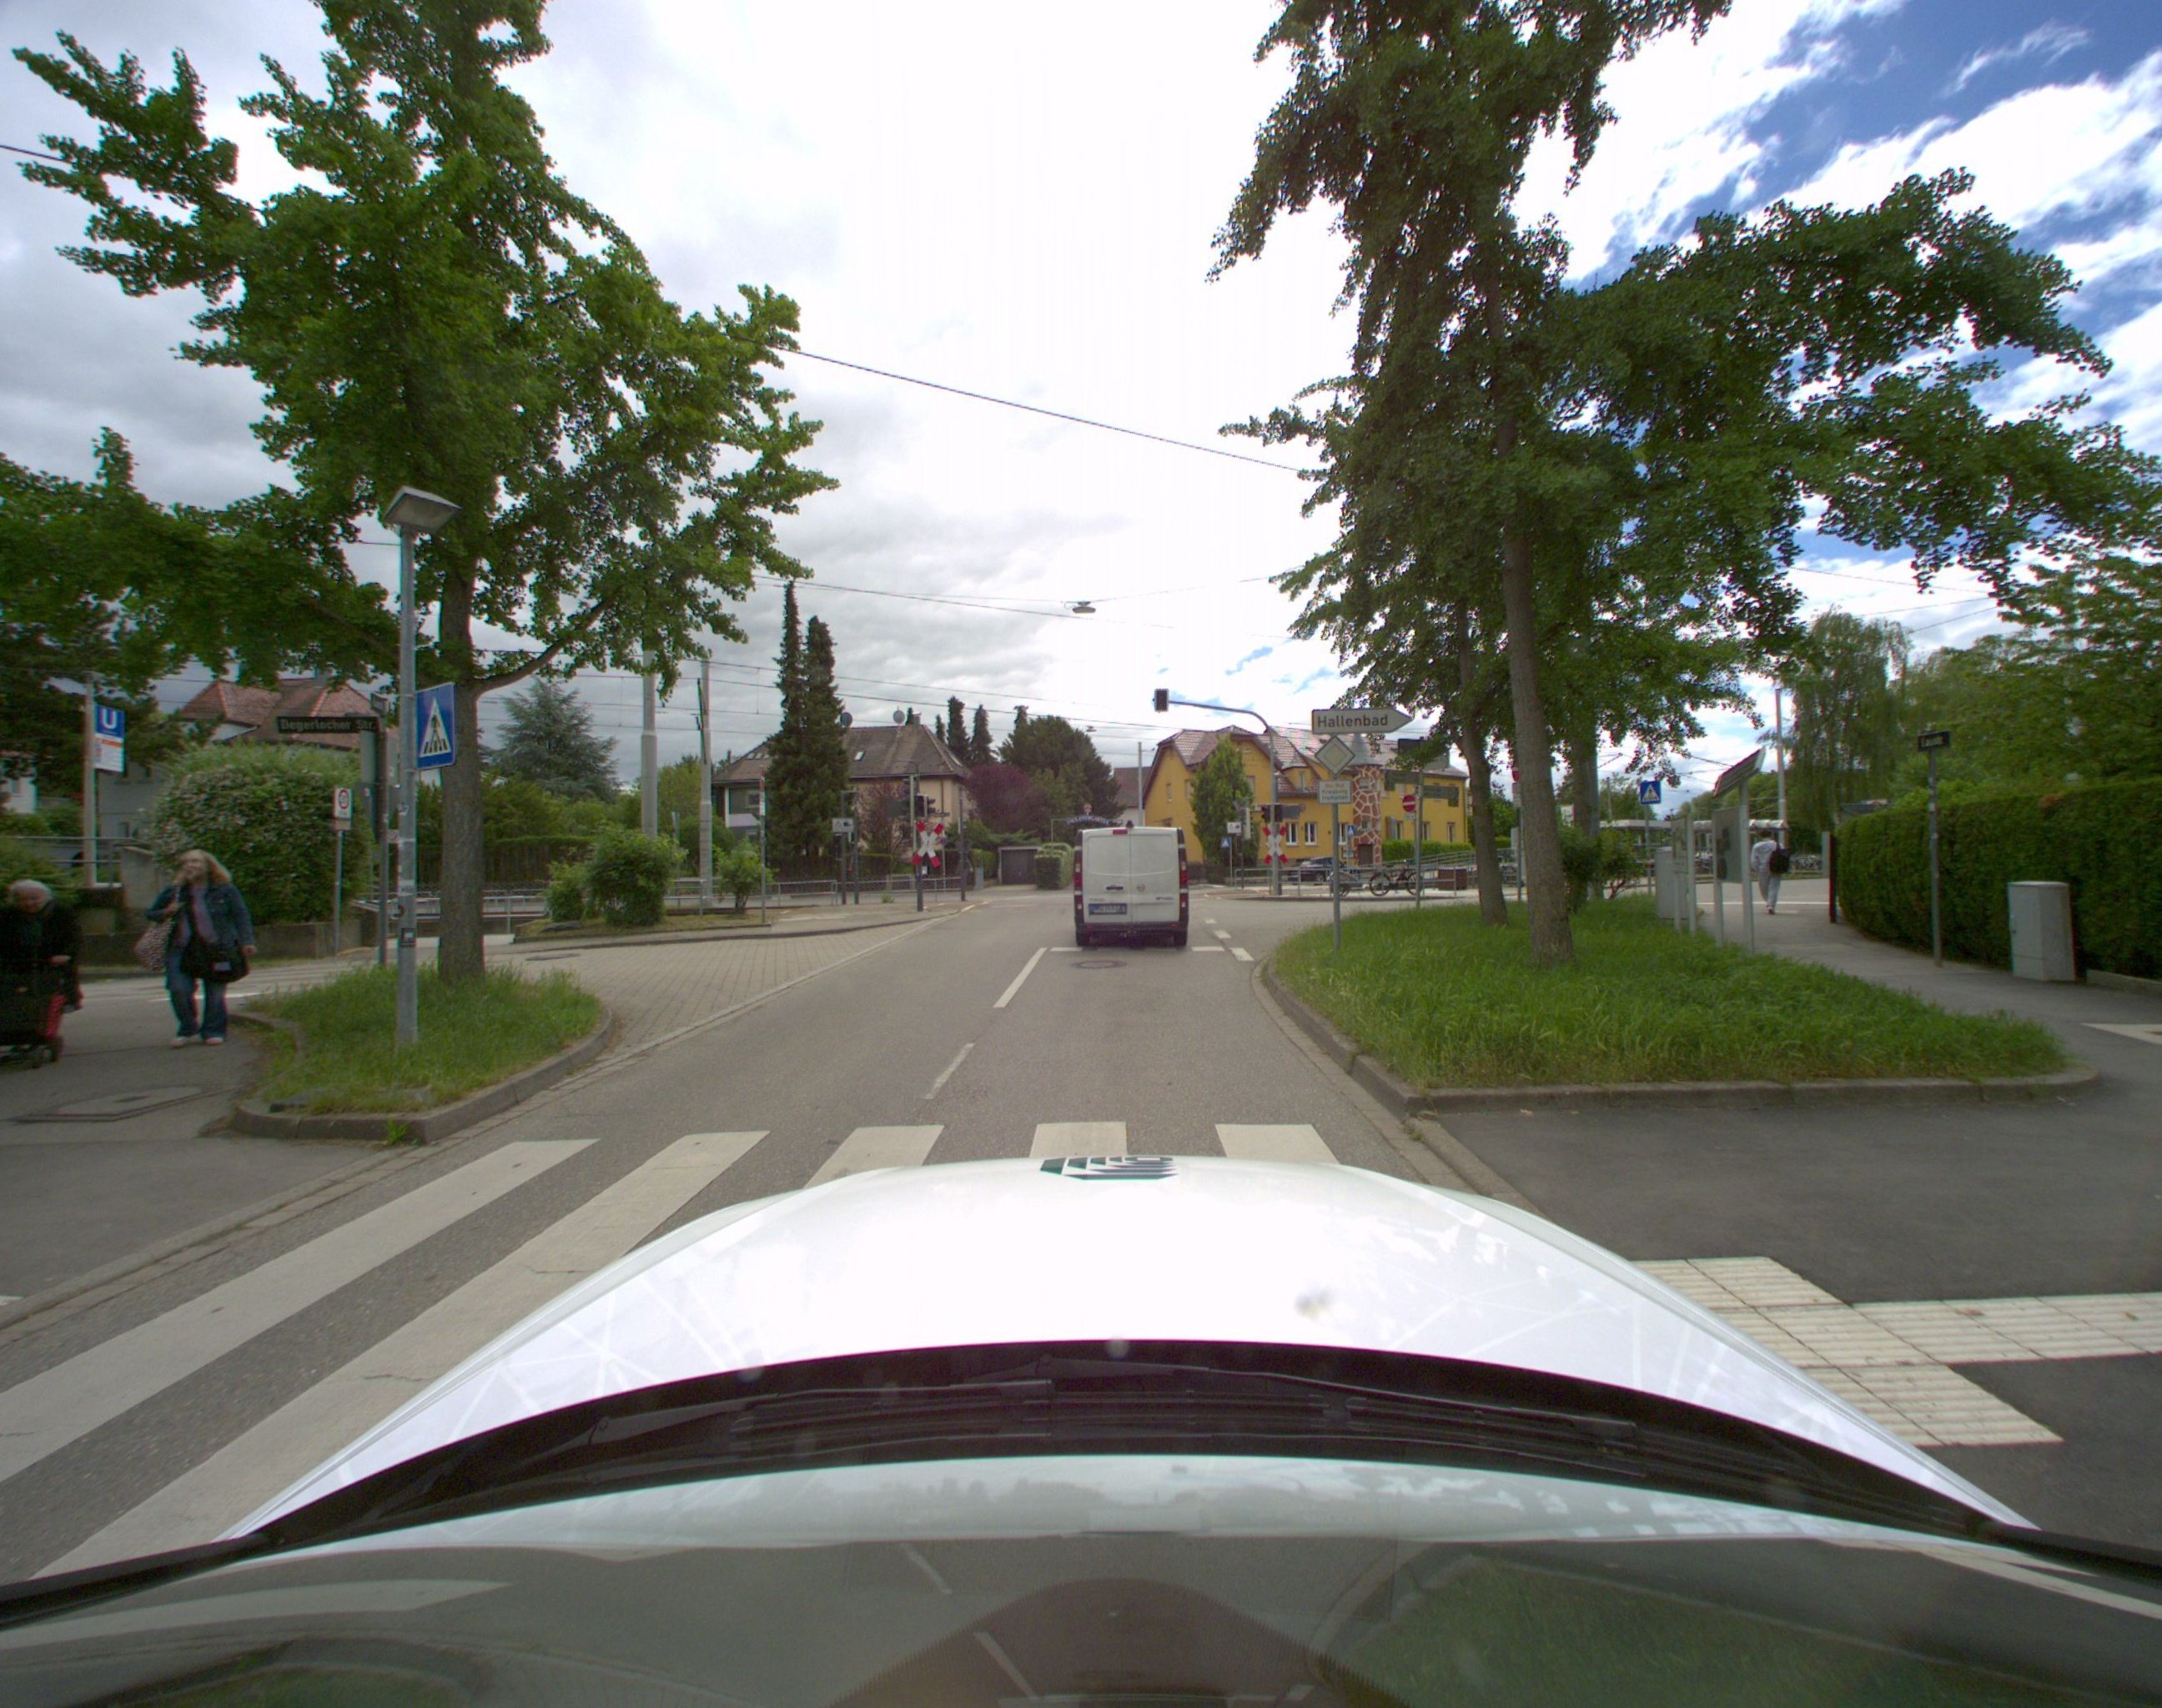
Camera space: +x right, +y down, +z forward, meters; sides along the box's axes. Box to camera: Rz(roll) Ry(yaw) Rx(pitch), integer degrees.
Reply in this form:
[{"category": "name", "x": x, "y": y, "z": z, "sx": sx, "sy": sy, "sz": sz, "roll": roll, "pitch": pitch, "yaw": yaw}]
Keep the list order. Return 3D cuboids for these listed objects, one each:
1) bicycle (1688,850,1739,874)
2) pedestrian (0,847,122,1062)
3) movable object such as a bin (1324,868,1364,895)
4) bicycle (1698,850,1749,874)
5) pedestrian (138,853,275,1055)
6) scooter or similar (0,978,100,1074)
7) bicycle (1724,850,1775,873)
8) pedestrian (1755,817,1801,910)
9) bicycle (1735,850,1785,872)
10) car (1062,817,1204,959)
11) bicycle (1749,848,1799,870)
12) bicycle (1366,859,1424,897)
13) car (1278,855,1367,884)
[{"category": "bicycle", "x": 28.811, "y": 0.363, "z": 37.123, "sx": 0.558, "sy": 1.042, "sz": 1.755, "roll": -1, "pitch": -1, "yaw": -27}, {"category": "pedestrian", "x": -8.275, "y": 0.762, "z": 6.518, "sx": 0.591, "sy": 1.620, "sz": 0.682, "roll": 1, "pitch": 0, "yaw": 33}, {"category": "movable object such as a bin", "x": 8.367, "y": 0.868, "z": 25.926, "sx": 1.088, "sy": 0.824, "sz": 0.579, "roll": -1, "pitch": -1, "yaw": -3}, {"category": "bicycle", "x": 29.608, "y": 0.376, "z": 37.552, "sx": 0.558, "sy": 1.042, "sz": 1.755, "roll": -1, "pitch": -1, "yaw": -27}, {"category": "pedestrian", "x": -7.550, "y": 0.813, "z": 7.041, "sx": 0.591, "sy": 1.620, "sz": 0.682, "roll": 1, "pitch": 0, "yaw": 33}, {"category": "scooter or similar", "x": -7.899, "y": 1.296, "z": 6.197, "sx": 0.395, "sy": 0.610, "sz": 0.492, "roll": 1, "pitch": -1, "yaw": 33}, {"category": "bicycle", "x": 31.660, "y": 0.351, "z": 38.578, "sx": 0.558, "sy": 1.042, "sz": 1.755, "roll": -1, "pitch": -1, "yaw": -27}, {"category": "pedestrian", "x": 14.777, "y": 0.205, "z": 17.284, "sx": 0.617, "sy": 1.915, "sz": 0.836, "roll": -3, "pitch": -1, "yaw": 38}, {"category": "bicycle", "x": 32.471, "y": 0.334, "z": 38.974, "sx": 0.558, "sy": 1.042, "sz": 1.755, "roll": -1, "pitch": -1, "yaw": -27}, {"category": "car", "x": 0.818, "y": 0.522, "z": 15.047, "sx": 2.110, "sy": 2.134, "sz": 5.441, "roll": -1, "pitch": 0, "yaw": 1}, {"category": "bicycle", "x": 33.839, "y": 0.274, "z": 39.785, "sx": 0.558, "sy": 1.042, "sz": 1.755, "roll": -1, "pitch": -1, "yaw": -27}, {"category": "bicycle", "x": 9.961, "y": 0.748, "z": 25.852, "sx": 1.684, "sy": 1.155, "sz": 0.465, "roll": -1, "pitch": -1, "yaw": -6}, {"category": "car", "x": 13.543, "y": 0.857, "z": 45.711, "sx": 4.382, "sy": 1.564, "sz": 2.342, "roll": 0, "pitch": 0, "yaw": -27}]
